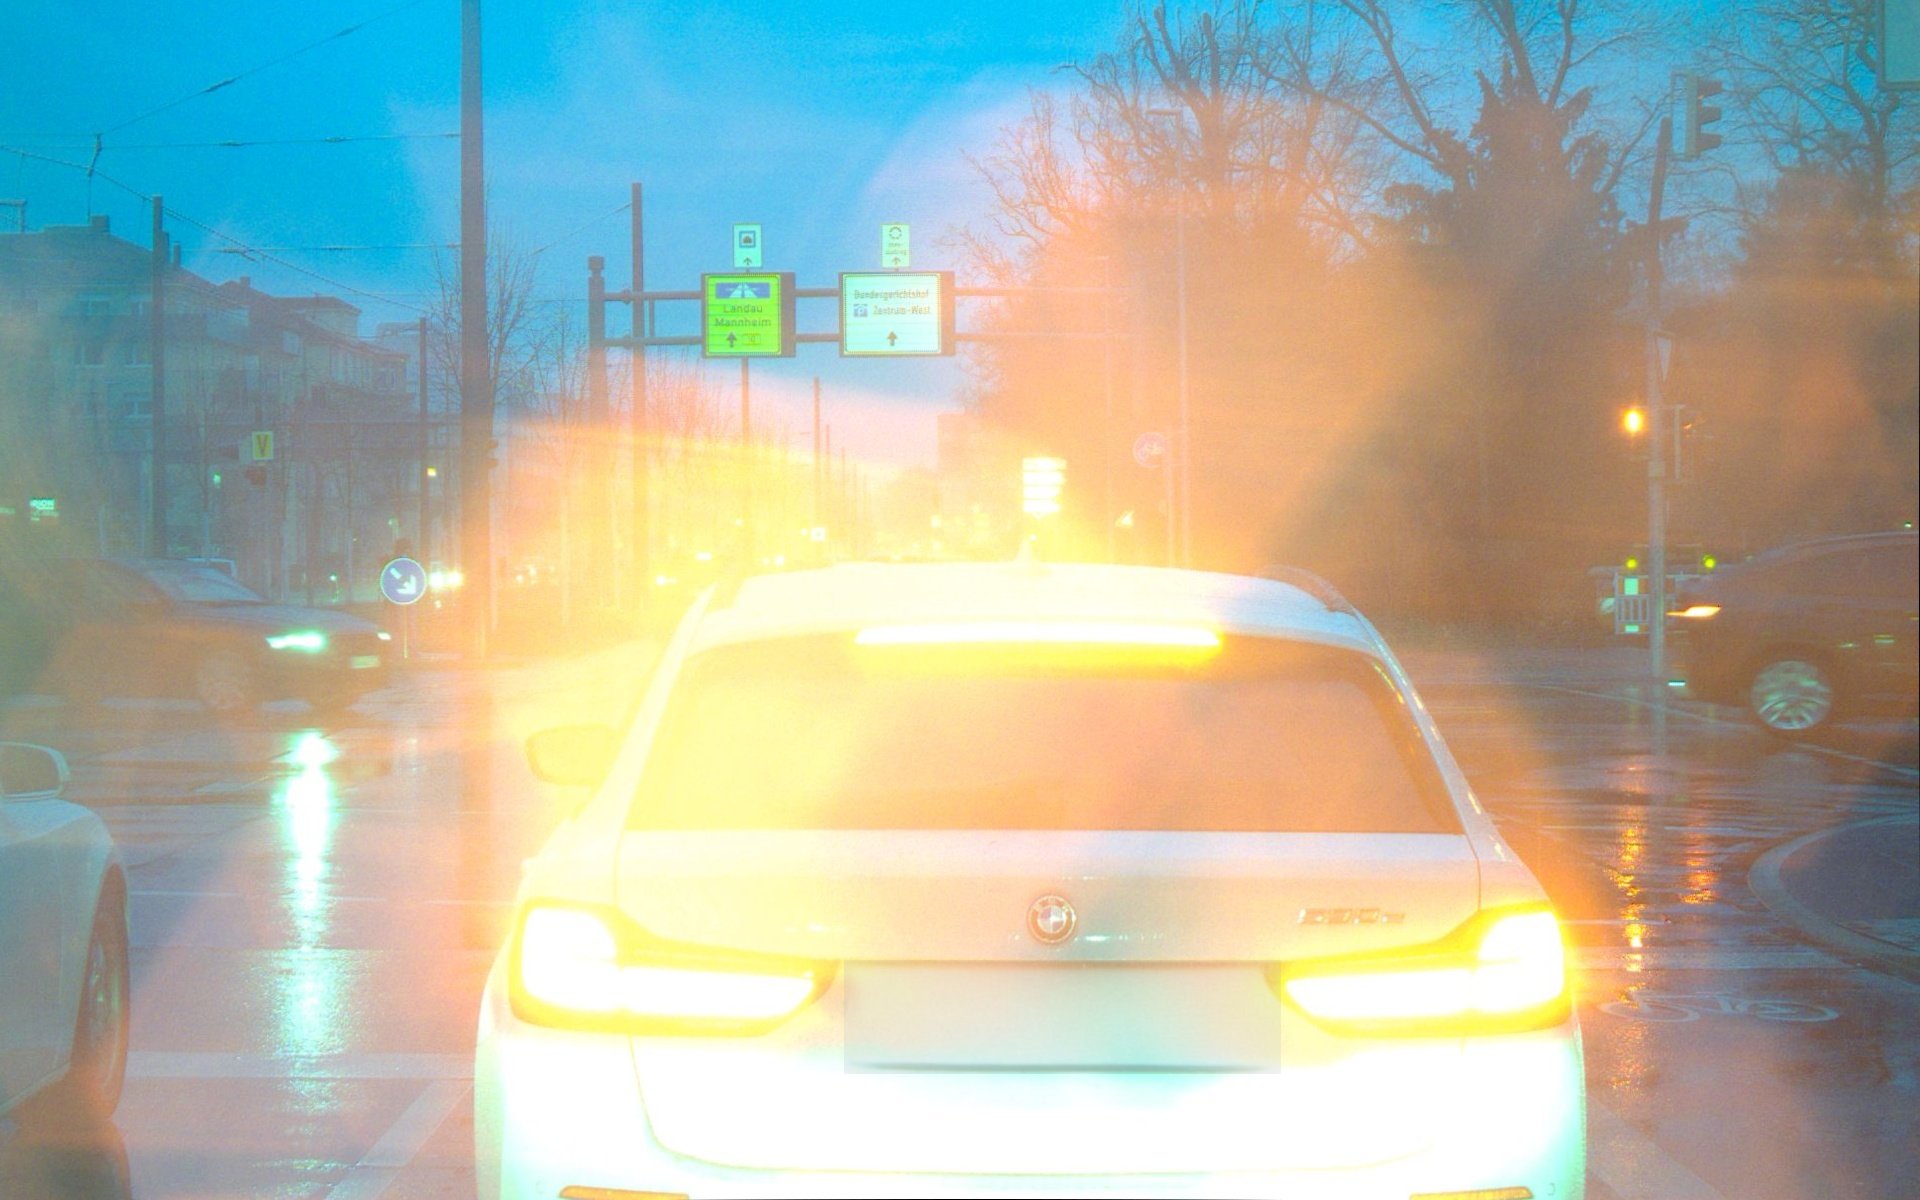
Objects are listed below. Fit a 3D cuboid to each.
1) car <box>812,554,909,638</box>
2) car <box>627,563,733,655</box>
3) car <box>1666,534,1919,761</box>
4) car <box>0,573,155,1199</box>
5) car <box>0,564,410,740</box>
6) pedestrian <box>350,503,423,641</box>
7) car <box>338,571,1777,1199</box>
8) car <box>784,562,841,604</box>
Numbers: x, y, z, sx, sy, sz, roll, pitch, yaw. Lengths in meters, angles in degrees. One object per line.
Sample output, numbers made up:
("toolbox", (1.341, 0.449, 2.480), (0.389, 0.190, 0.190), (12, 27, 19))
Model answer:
("car", (-1.984, -0.079, 68.968), (1.843, 1.603, 3.945), (1, 0, -1))
("car", (-5.156, 0.157, 63.034), (1.842, 1.603, 3.945), (1, 0, -5))
("car", (8.008, 0.369, 26.806), (4.700, 1.714, 1.899), (1, 0, 19))
("car", (-3.100, 0.690, 7.166), (1.993, 1.451, 4.369), (0, 1, -2))
("car", (-7.533, 0.459, 32.265), (4.315, 1.525, 1.762), (1, 0, 13))
("pedestrian", (-7.784, -0.378, 46.713), (0.902, 1.850, 0.812), (1, 0, -7))
("car", (0.045, 0.692, 6.948), (1.993, 1.451, 4.369), (0, 1, -2))
("car", (-5.329, -0.644, 124.075), (1.993, 1.451, 4.369), (0, 1, -2))
